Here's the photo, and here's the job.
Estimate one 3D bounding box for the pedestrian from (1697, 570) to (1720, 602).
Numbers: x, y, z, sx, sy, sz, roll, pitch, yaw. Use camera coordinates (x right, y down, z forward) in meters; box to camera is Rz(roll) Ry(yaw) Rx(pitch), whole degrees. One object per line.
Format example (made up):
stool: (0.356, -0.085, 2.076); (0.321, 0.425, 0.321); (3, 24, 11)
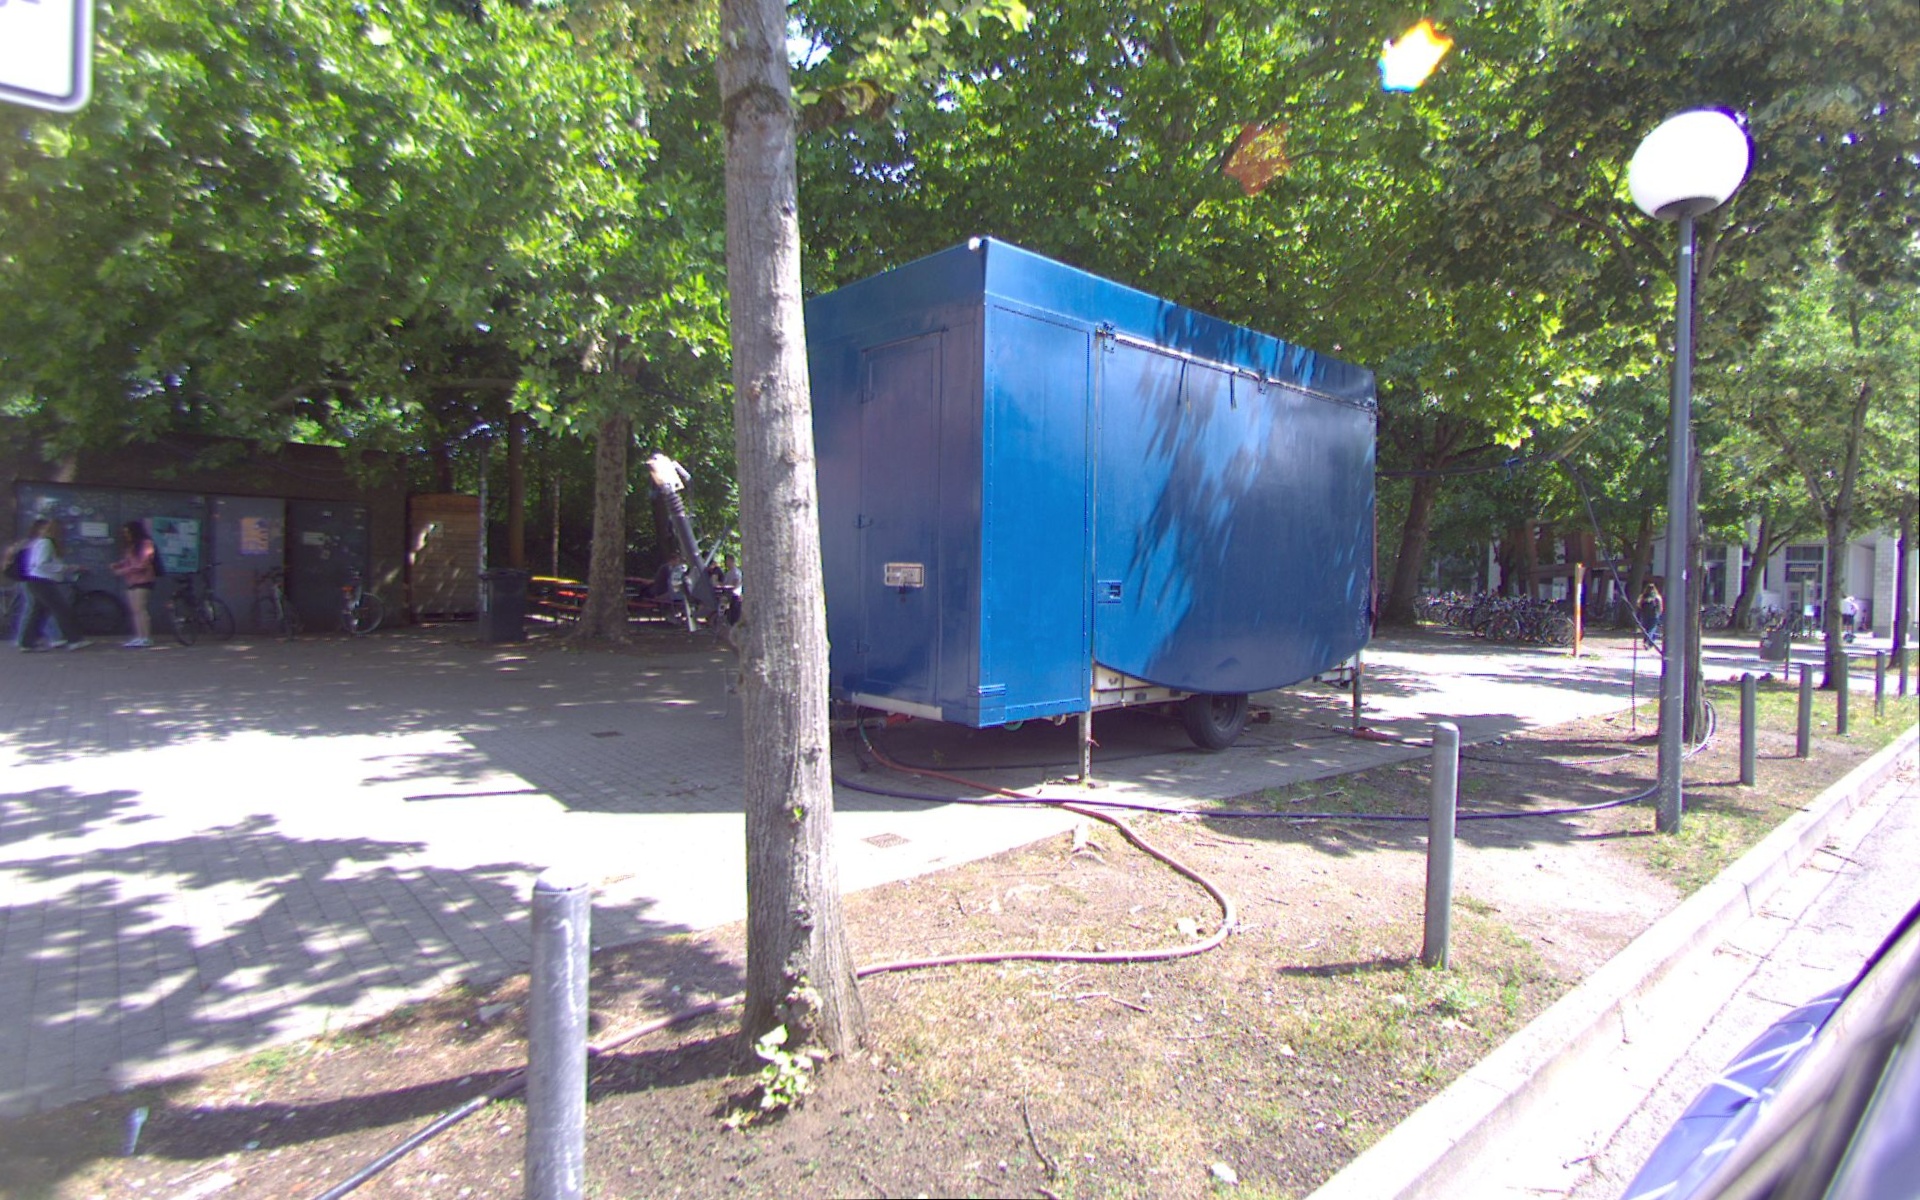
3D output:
pedestrian: (43.078, -0.833, 58.265); (0.793, 1.819, 0.621); (1, 1, -9)

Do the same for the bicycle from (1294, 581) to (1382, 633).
bicycle: (9.184, 0.164, 24.605); (1.886, 1.132, 0.607); (4, 2, 27)

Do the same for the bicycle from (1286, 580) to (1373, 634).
bicycle: (8.612, 0.145, 23.608); (1.792, 1.132, 0.607); (4, 2, 27)

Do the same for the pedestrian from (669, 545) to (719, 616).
pedestrian: (-5.308, -0.385, 20.188); (0.570, 1.363, 0.717); (7, 4, 44)

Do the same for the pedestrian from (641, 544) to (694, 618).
pedestrian: (-5.588, -0.360, 19.356); (0.570, 1.363, 0.717); (7, 4, 44)

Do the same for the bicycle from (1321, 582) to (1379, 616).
bicycle: (14.116, -0.042, 36.673); (1.875, 1.096, 0.477); (3, 2, 13)

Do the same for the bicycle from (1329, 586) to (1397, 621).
bicycle: (12.463, 0.105, 31.341); (1.868, 0.991, 0.479); (2, 2, 1)

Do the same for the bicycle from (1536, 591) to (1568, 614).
bicycle: (27.655, 0.117, 47.284); (1.663, 1.060, 0.618); (2, -1, -34)

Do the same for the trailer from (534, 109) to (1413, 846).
trailer: (0.553, -0.576, 7.355); (6.151, 3.089, 2.696); (0, 3, -43)

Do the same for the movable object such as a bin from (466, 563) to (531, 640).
movable object such as a bin: (-6.829, 0.002, 14.969); (0.729, 1.084, 0.600); (-2, 3, -41)

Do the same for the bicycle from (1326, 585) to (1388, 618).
bicycle: (13.417, 0.032, 34.227); (1.879, 0.991, 0.476); (3, 2, 19)

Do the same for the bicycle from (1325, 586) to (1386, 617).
bicycle: (13.868, 0.053, 35.497); (1.873, 0.991, 0.477); (3, 2, 10)

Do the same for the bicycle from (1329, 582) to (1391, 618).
bicycle: (13.721, -0.010, 34.744); (1.875, 1.096, 0.477); (3, 2, 13)

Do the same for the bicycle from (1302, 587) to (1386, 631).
bicycle: (9.734, 0.213, 25.675); (1.886, 0.991, 0.607); (4, 2, 27)

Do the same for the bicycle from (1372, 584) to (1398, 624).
bicycle: (12.204, 0.094, 29.019); (0.474, 1.096, 1.886); (3, 3, 27)

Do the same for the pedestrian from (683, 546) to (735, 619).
pedestrian: (-4.905, -0.331, 19.774); (0.570, 1.363, 0.717); (7, 4, 44)

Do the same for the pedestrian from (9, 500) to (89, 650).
pedestrian: (-11.843, -0.320, 13.169); (0.547, 1.906, 0.530); (1, 0, -11)

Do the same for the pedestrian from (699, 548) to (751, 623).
pedestrian: (-4.497, -0.277, 19.364); (0.570, 1.363, 0.717); (7, 4, 44)

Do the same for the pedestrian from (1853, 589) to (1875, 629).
pedestrian: (40.398, 0.401, 45.235); (0.533, 1.750, 0.613); (0, 2, -40)

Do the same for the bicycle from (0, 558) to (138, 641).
bicycle: (-13.299, -0.014, 14.777); (1.992, 1.154, 0.574); (0, 1, -42)

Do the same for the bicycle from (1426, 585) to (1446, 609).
bicycle: (24.055, -0.135, 51.139); (0.453, 1.144, 1.661); (0, -2, 43)

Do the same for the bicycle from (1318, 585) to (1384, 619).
bicycle: (12.562, 0.059, 32.522); (1.872, 0.991, 0.477); (3, 2, 9)

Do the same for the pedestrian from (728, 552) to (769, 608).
pedestrian: (-5.049, -0.473, 24.137); (0.667, 1.286, 0.612); (7, 4, 44)

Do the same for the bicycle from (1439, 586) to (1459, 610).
bicycle: (24.564, -0.079, 50.836); (0.453, 1.144, 1.661); (0, -2, 43)

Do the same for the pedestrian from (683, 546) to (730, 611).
pedestrian: (-5.584, -0.467, 22.288); (0.667, 1.363, 0.708); (7, 4, 44)

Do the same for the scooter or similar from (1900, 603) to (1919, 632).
scooter or similar: (42.624, 0.759, 45.349); (1.485, 1.226, 0.564); (0, 4, -43)

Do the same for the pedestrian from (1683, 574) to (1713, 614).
pedestrian: (33.381, -0.268, 45.774); (0.737, 1.762, 0.935); (0, 1, -44)

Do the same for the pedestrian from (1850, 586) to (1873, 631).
pedestrian: (39.577, 0.355, 44.447); (0.675, 1.914, 0.685); (-1, 2, -44)

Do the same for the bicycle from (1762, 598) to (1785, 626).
bicycle: (38.070, 0.567, 47.369); (1.799, 1.257, 0.531); (-1, 3, -43)

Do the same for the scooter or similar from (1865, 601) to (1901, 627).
scooter or similar: (47.169, 0.711, 51.729); (0.555, 1.226, 1.508); (1, 3, 8)

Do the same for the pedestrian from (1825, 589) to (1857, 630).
pedestrian: (39.818, 0.414, 45.739); (0.795, 1.819, 0.619); (2, 1, 5)

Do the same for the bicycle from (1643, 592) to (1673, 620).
bicycle: (30.455, 0.283, 44.153); (1.664, 1.139, 0.482); (3, 2, -37)

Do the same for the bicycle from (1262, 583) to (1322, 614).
bicycle: (11.461, -0.062, 34.985); (1.873, 0.991, 0.377); (3, 2, 10)

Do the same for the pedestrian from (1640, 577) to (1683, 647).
pedestrian: (16.787, 0.272, 24.210); (0.911, 1.590, 0.569); (-4, 5, -41)

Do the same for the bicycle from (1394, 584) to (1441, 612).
bicycle: (20.463, -0.103, 45.280); (1.818, 1.185, 0.435); (3, 1, 14)

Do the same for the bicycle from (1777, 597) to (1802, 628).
bicycle: (33.365, 0.489, 40.701); (1.465, 1.155, 0.560); (0, 4, -44)

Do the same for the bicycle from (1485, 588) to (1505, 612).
bicycle: (26.156, 0.014, 49.477); (0.453, 1.144, 1.661); (0, -2, 43)

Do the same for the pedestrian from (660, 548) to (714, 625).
pedestrian: (-5.054, -0.240, 18.747); (0.570, 1.363, 0.717); (7, 4, 44)

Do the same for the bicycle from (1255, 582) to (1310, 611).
bicycle: (11.917, -0.133, 37.452); (1.879, 0.991, 0.376); (3, 2, 19)

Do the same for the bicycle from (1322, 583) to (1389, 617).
bicycle: (12.473, -0.009, 31.913); (1.868, 0.991, 0.479); (2, 2, 1)

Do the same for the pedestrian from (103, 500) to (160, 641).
pedestrian: (-11.474, -0.404, 14.023); (0.519, 1.906, 0.449); (1, 0, -31)

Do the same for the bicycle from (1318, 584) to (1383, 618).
bicycle: (12.744, 0.028, 33.027); (1.872, 0.991, 0.478); (3, 2, 8)

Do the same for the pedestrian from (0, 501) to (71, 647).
pedestrian: (-12.430, -0.364, 13.597); (0.523, 1.905, 0.555); (3, 3, 21)

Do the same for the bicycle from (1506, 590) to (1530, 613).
bicycle: (26.635, 0.074, 48.321); (0.615, 1.060, 1.661); (0, -2, 43)

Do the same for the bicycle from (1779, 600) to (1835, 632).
bicycle: (33.234, 0.638, 39.723); (1.749, 1.155, 0.608); (2, 3, -9)

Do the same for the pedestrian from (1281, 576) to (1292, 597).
pedestrian: (19.366, -0.813, 59.993); (0.379, 1.227, 0.403); (2, 1, -33)

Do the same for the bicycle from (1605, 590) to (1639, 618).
bicycle: (29.508, 0.170, 45.102); (1.664, 1.139, 0.628); (3, 2, -37)

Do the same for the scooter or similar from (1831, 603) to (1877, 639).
scooter or similar: (30.862, 0.724, 34.947); (1.333, 1.128, 0.498); (3, 1, -17)
